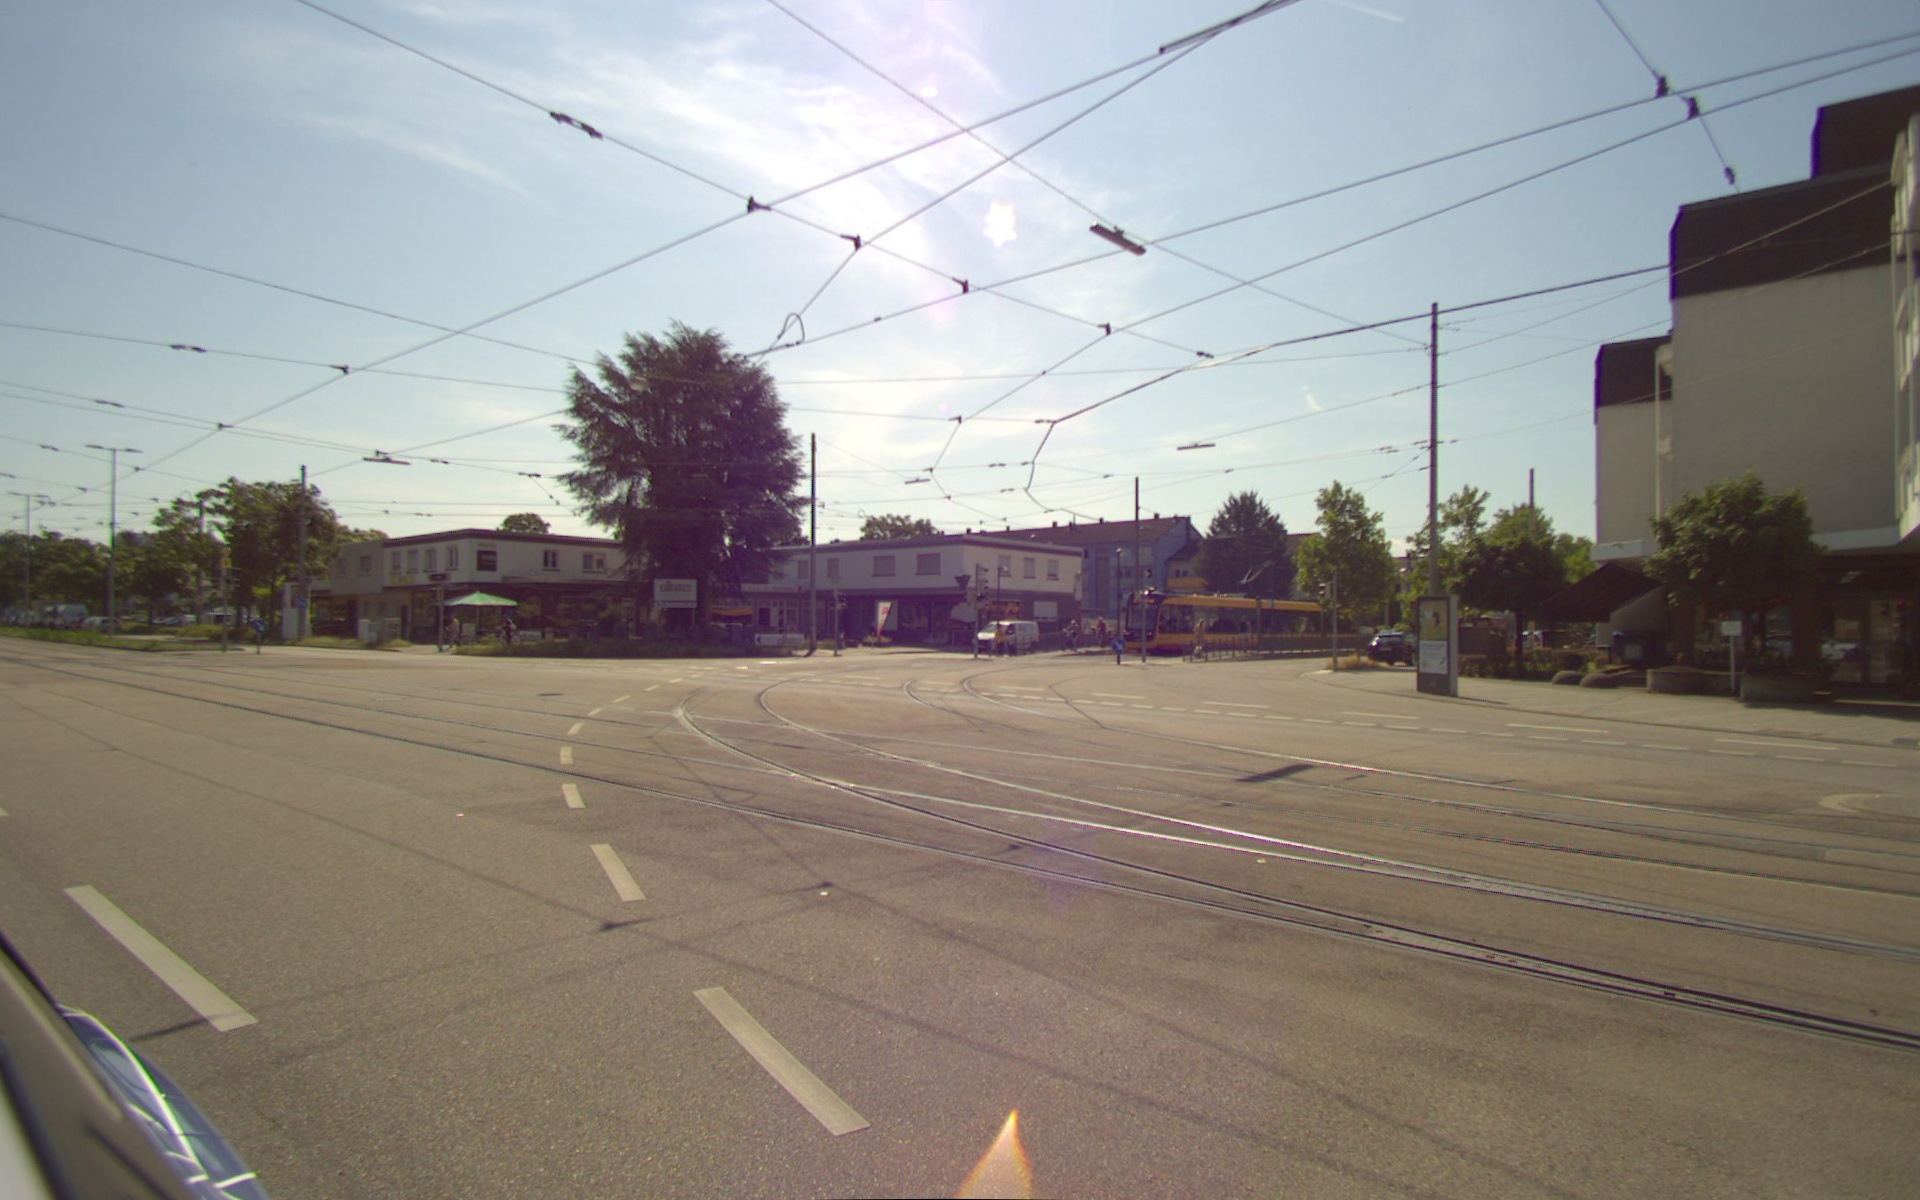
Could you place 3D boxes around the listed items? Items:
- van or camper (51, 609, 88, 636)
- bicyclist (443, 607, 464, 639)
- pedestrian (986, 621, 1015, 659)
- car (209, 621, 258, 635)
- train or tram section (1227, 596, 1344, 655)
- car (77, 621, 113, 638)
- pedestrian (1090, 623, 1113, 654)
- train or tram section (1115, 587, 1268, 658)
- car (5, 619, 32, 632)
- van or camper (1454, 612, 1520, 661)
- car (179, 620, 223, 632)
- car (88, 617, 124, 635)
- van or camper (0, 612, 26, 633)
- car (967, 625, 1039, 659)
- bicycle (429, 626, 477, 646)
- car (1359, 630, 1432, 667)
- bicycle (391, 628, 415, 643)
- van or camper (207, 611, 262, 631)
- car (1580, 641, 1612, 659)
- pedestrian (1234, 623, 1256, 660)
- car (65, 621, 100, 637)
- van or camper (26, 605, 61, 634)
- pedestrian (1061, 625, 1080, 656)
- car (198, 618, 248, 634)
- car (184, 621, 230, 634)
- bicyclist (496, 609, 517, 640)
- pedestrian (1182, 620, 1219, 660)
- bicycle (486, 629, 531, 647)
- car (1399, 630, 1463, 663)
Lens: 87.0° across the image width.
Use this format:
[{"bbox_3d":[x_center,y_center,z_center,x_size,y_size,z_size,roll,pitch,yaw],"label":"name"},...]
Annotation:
[{"bbox_3d":[-88.689,2.234,100.802,4.836,2.652,2.014,-1,-2,40],"label":"van or camper"},{"bbox_3d":[-25.734,1.183,51.441,0.753,1.570,0.633,2,-3,-12],"label":"bicyclist"},{"bbox_3d":[1.983,1.960,49.629,0.896,1.851,1.185,-1,-3,41],"label":"pedestrian"},{"bbox_3d":[-71.762,2.763,99.959,1.710,1.372,3.580,-1,-2,38],"label":"car"},{"bbox_3d":[22.537,1.835,69.242,2.766,3.686,13.722,-1,-2,40],"label":"train or tram section"},{"bbox_3d":[-80.430,2.711,94.098,4.282,1.572,1.869,-1,-2,40],"label":"car"},{"bbox_3d":[7.811,2.112,55.700,0.813,1.693,1.079,-1,-3,41],"label":"pedestrian"},{"bbox_3d":[13.751,1.403,58.691,2.766,3.686,13.722,-1,-2,40],"label":"train or tram section"},{"bbox_3d":[-115.920,3.182,124.567,4.229,1.572,1.869,-1,-2,40],"label":"car"},{"bbox_3d":[29.808,2.047,57.203,2.374,2.644,4.826,-1,-2,39],"label":"van or camper"},{"bbox_3d":[-83.050,2.815,110.788,1.710,1.291,3.580,-1,-2,38],"label":"car"},{"bbox_3d":[-76.412,2.277,90.505,4.284,1.506,1.868,-1,0,42],"label":"car"},{"bbox_3d":[-121.059,2.866,129.108,5.449,2.639,2.087,-1,-3,41],"label":"van or camper"},{"bbox_3d":[2.567,2.448,59.423,1.776,1.876,4.597,-1,-2,40],"label":"car"},{"bbox_3d":[-25.730,1.835,51.410,2.101,0.954,0.537,1,-2,-10],"label":"bicycle"},{"bbox_3d":[18.748,2.071,43.488,1.826,1.511,4.130,-1,-2,39],"label":"car"},{"bbox_3d":[-36.702,2.336,66.691,1.910,0.990,0.750,-1,-2,41],"label":"bicycle"},{"bbox_3d":[-104.805,3.064,146.269,2.299,2.751,6.001,-1,-3,42],"label":"van or camper"},{"bbox_3d":[54.662,4.297,86.938,1.826,1.511,3.947,-1,-3,39],"label":"car"},{"bbox_3d":[14.088,2.052,50.002,0.764,1.773,0.800,-1,-3,44],"label":"pedestrian"},{"bbox_3d":[-84.456,2.809,97.403,4.229,1.506,1.869,-1,-2,40],"label":"car"},{"bbox_3d":[-100.076,2.153,110.477,5.277,3.008,2.101,-1,-2,40],"label":"van or camper"},{"bbox_3d":[5.845,2.122,53.532,0.784,1.639,0.651,-1,-3,41],"label":"pedestrian"},{"bbox_3d":[-73.796,2.584,101.375,1.949,1.581,3.703,-1,-2,39],"label":"car"},{"bbox_3d":[-79.636,2.884,107.017,1.811,1.291,3.579,-1,-2,39],"label":"car"},{"bbox_3d":[-23.269,1.256,51.956,0.756,1.587,0.630,0,-2,7],"label":"bicyclist"},{"bbox_3d":[11.276,1.872,47.429,1.123,1.850,1.418,-1,-3,44],"label":"pedestrian"},{"bbox_3d":[-23.156,1.943,51.886,2.112,0.897,0.574,0,-2,9],"label":"bicycle"},{"bbox_3d":[22.561,2.208,48.411,1.826,1.511,3.947,-1,-3,39],"label":"car"}]
